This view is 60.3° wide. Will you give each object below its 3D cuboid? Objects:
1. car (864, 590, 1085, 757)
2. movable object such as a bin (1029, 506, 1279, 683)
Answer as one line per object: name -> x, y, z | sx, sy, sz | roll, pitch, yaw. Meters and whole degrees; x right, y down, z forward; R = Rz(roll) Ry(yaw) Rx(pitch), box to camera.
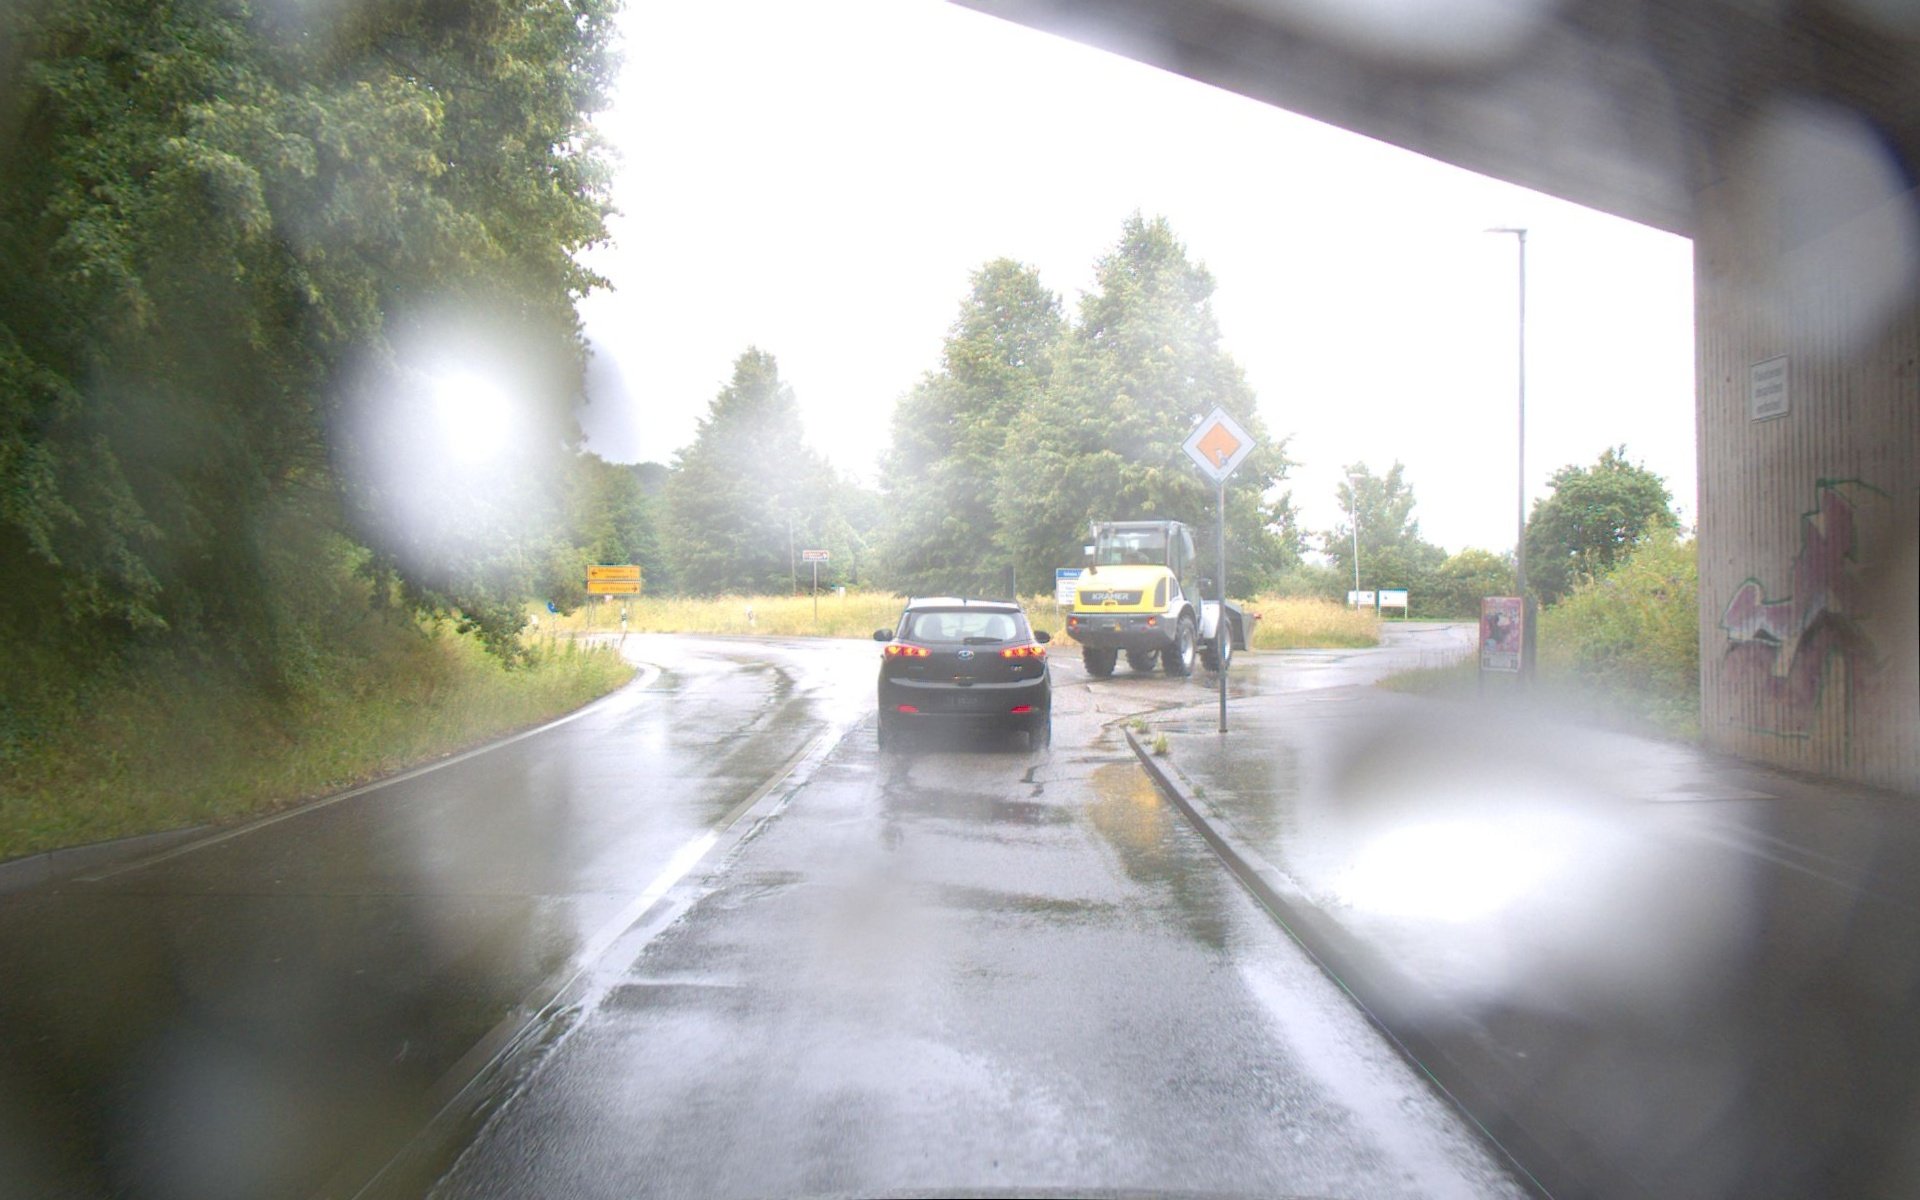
car -> 0.028, 0.676, 17.267 | 1.954, 1.513, 3.996 | 1, 0, -4
movable object such as a bin -> 3.567, -0.076, 28.815 | 2.202, 2.716, 6.619 | 1, 0, 26
